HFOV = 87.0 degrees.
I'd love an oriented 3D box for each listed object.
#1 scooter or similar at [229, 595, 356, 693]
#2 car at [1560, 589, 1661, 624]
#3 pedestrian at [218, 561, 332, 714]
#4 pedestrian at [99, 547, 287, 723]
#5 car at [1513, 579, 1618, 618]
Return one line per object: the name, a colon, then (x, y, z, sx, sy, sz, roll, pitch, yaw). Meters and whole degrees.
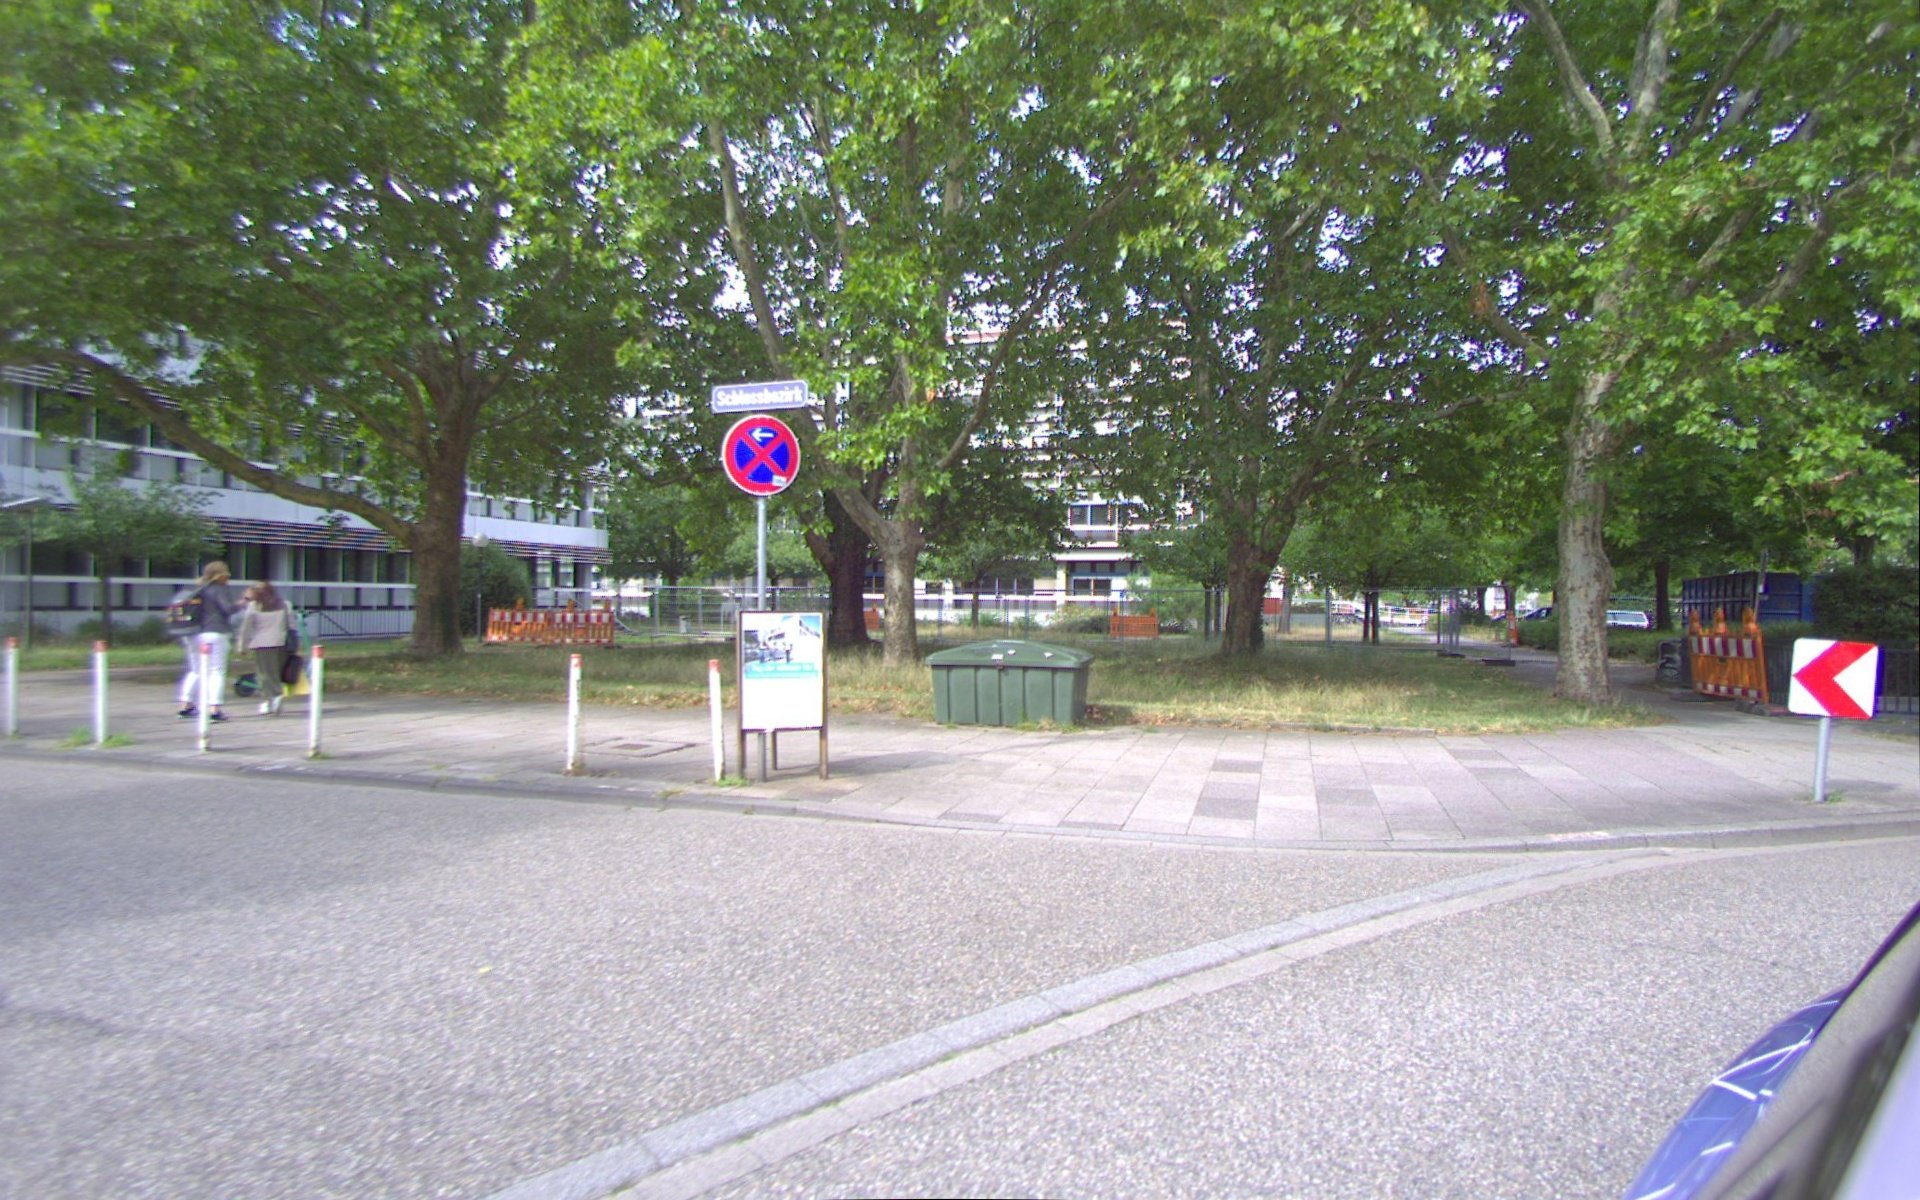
scooter or similar: (-9.279, 0.596, 14.127, 0.562, 1.285, 1.447, 1, -2, 14)
car: (32.126, 0.348, 50.101, 3.737, 1.601, 1.989, 1, -2, 17)
pedestrian: (-7.872, 0.425, 11.632, 0.850, 1.662, 0.884, 0, -3, 45)
pedestrian: (-8.236, 0.364, 10.928, 0.949, 1.764, 1.250, 1, -2, 14)
car: (34.090, -0.065, 57.087, 4.707, 2.040, 1.989, 1, -2, 17)
